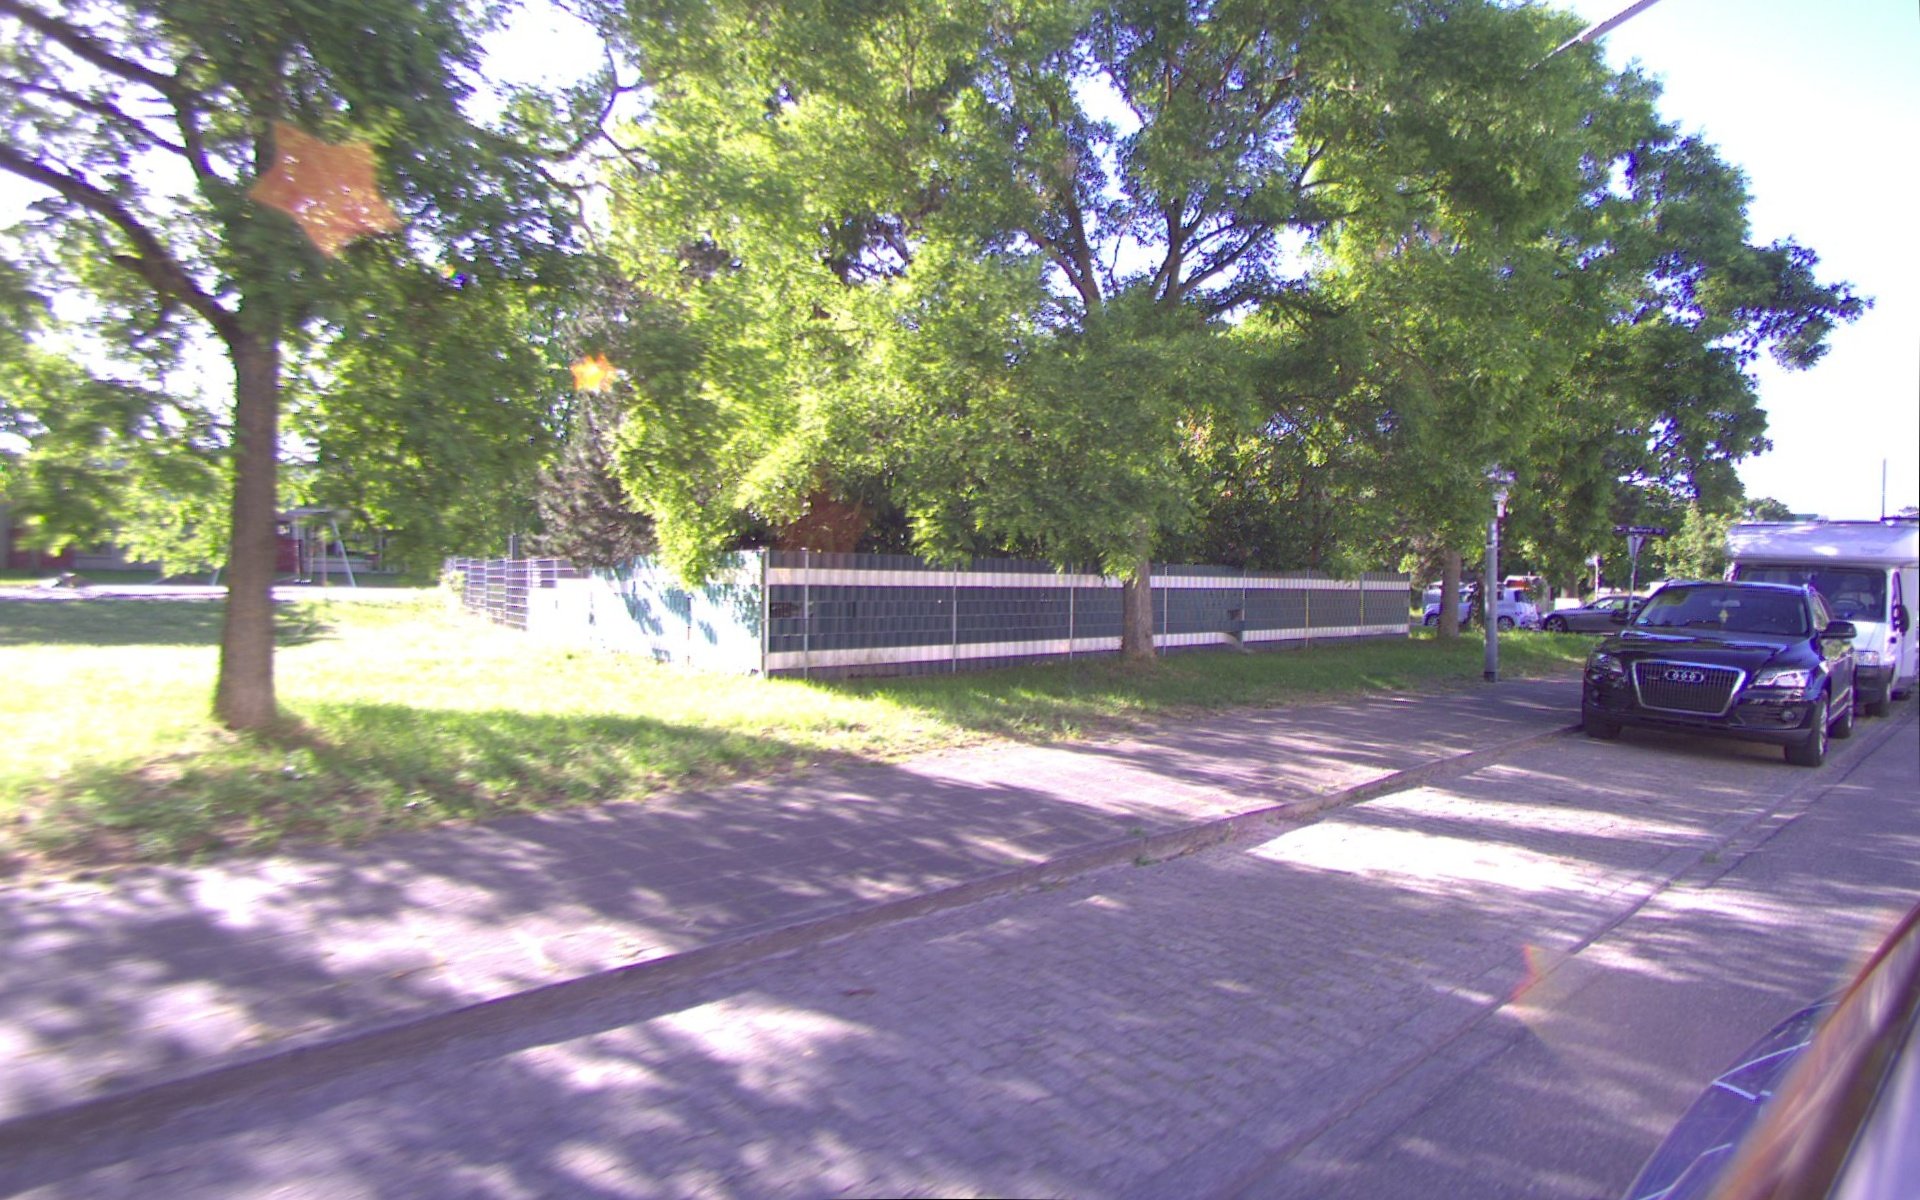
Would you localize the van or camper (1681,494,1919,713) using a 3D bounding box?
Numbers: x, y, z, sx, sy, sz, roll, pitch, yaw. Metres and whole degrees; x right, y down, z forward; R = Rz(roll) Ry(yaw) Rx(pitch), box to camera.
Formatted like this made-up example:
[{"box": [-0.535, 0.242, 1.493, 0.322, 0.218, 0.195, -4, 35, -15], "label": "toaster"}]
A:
[{"box": [13.095, -0.063, 15.141, 6.316, 2.627, 2.356, -1, 5, -43], "label": "van or camper"}]

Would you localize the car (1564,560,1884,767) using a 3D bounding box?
[{"box": [8.163, 0.481, 10.639, 4.462, 1.660, 1.996, -1, 3, -44], "label": "car"}]

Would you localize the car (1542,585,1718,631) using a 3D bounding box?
[{"box": [21.575, 0.227, 32.737, 1.714, 1.354, 4.435, 2, 0, -39], "label": "car"}]

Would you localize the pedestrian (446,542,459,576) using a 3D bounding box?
[{"box": [-27.807, -2.237, 55.422, 0.535, 1.817, 0.556, 0, 2, -40], "label": "pedestrian"}]

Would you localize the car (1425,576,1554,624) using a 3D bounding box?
[{"box": [18.917, -0.028, 36.261, 1.794, 1.597, 3.696, 0, 1, -36], "label": "car"}]

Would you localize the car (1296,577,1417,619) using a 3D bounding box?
[{"box": [15.865, -0.099, 40.673, 1.937, 1.561, 4.114, 1, 1, -38], "label": "car"}]
